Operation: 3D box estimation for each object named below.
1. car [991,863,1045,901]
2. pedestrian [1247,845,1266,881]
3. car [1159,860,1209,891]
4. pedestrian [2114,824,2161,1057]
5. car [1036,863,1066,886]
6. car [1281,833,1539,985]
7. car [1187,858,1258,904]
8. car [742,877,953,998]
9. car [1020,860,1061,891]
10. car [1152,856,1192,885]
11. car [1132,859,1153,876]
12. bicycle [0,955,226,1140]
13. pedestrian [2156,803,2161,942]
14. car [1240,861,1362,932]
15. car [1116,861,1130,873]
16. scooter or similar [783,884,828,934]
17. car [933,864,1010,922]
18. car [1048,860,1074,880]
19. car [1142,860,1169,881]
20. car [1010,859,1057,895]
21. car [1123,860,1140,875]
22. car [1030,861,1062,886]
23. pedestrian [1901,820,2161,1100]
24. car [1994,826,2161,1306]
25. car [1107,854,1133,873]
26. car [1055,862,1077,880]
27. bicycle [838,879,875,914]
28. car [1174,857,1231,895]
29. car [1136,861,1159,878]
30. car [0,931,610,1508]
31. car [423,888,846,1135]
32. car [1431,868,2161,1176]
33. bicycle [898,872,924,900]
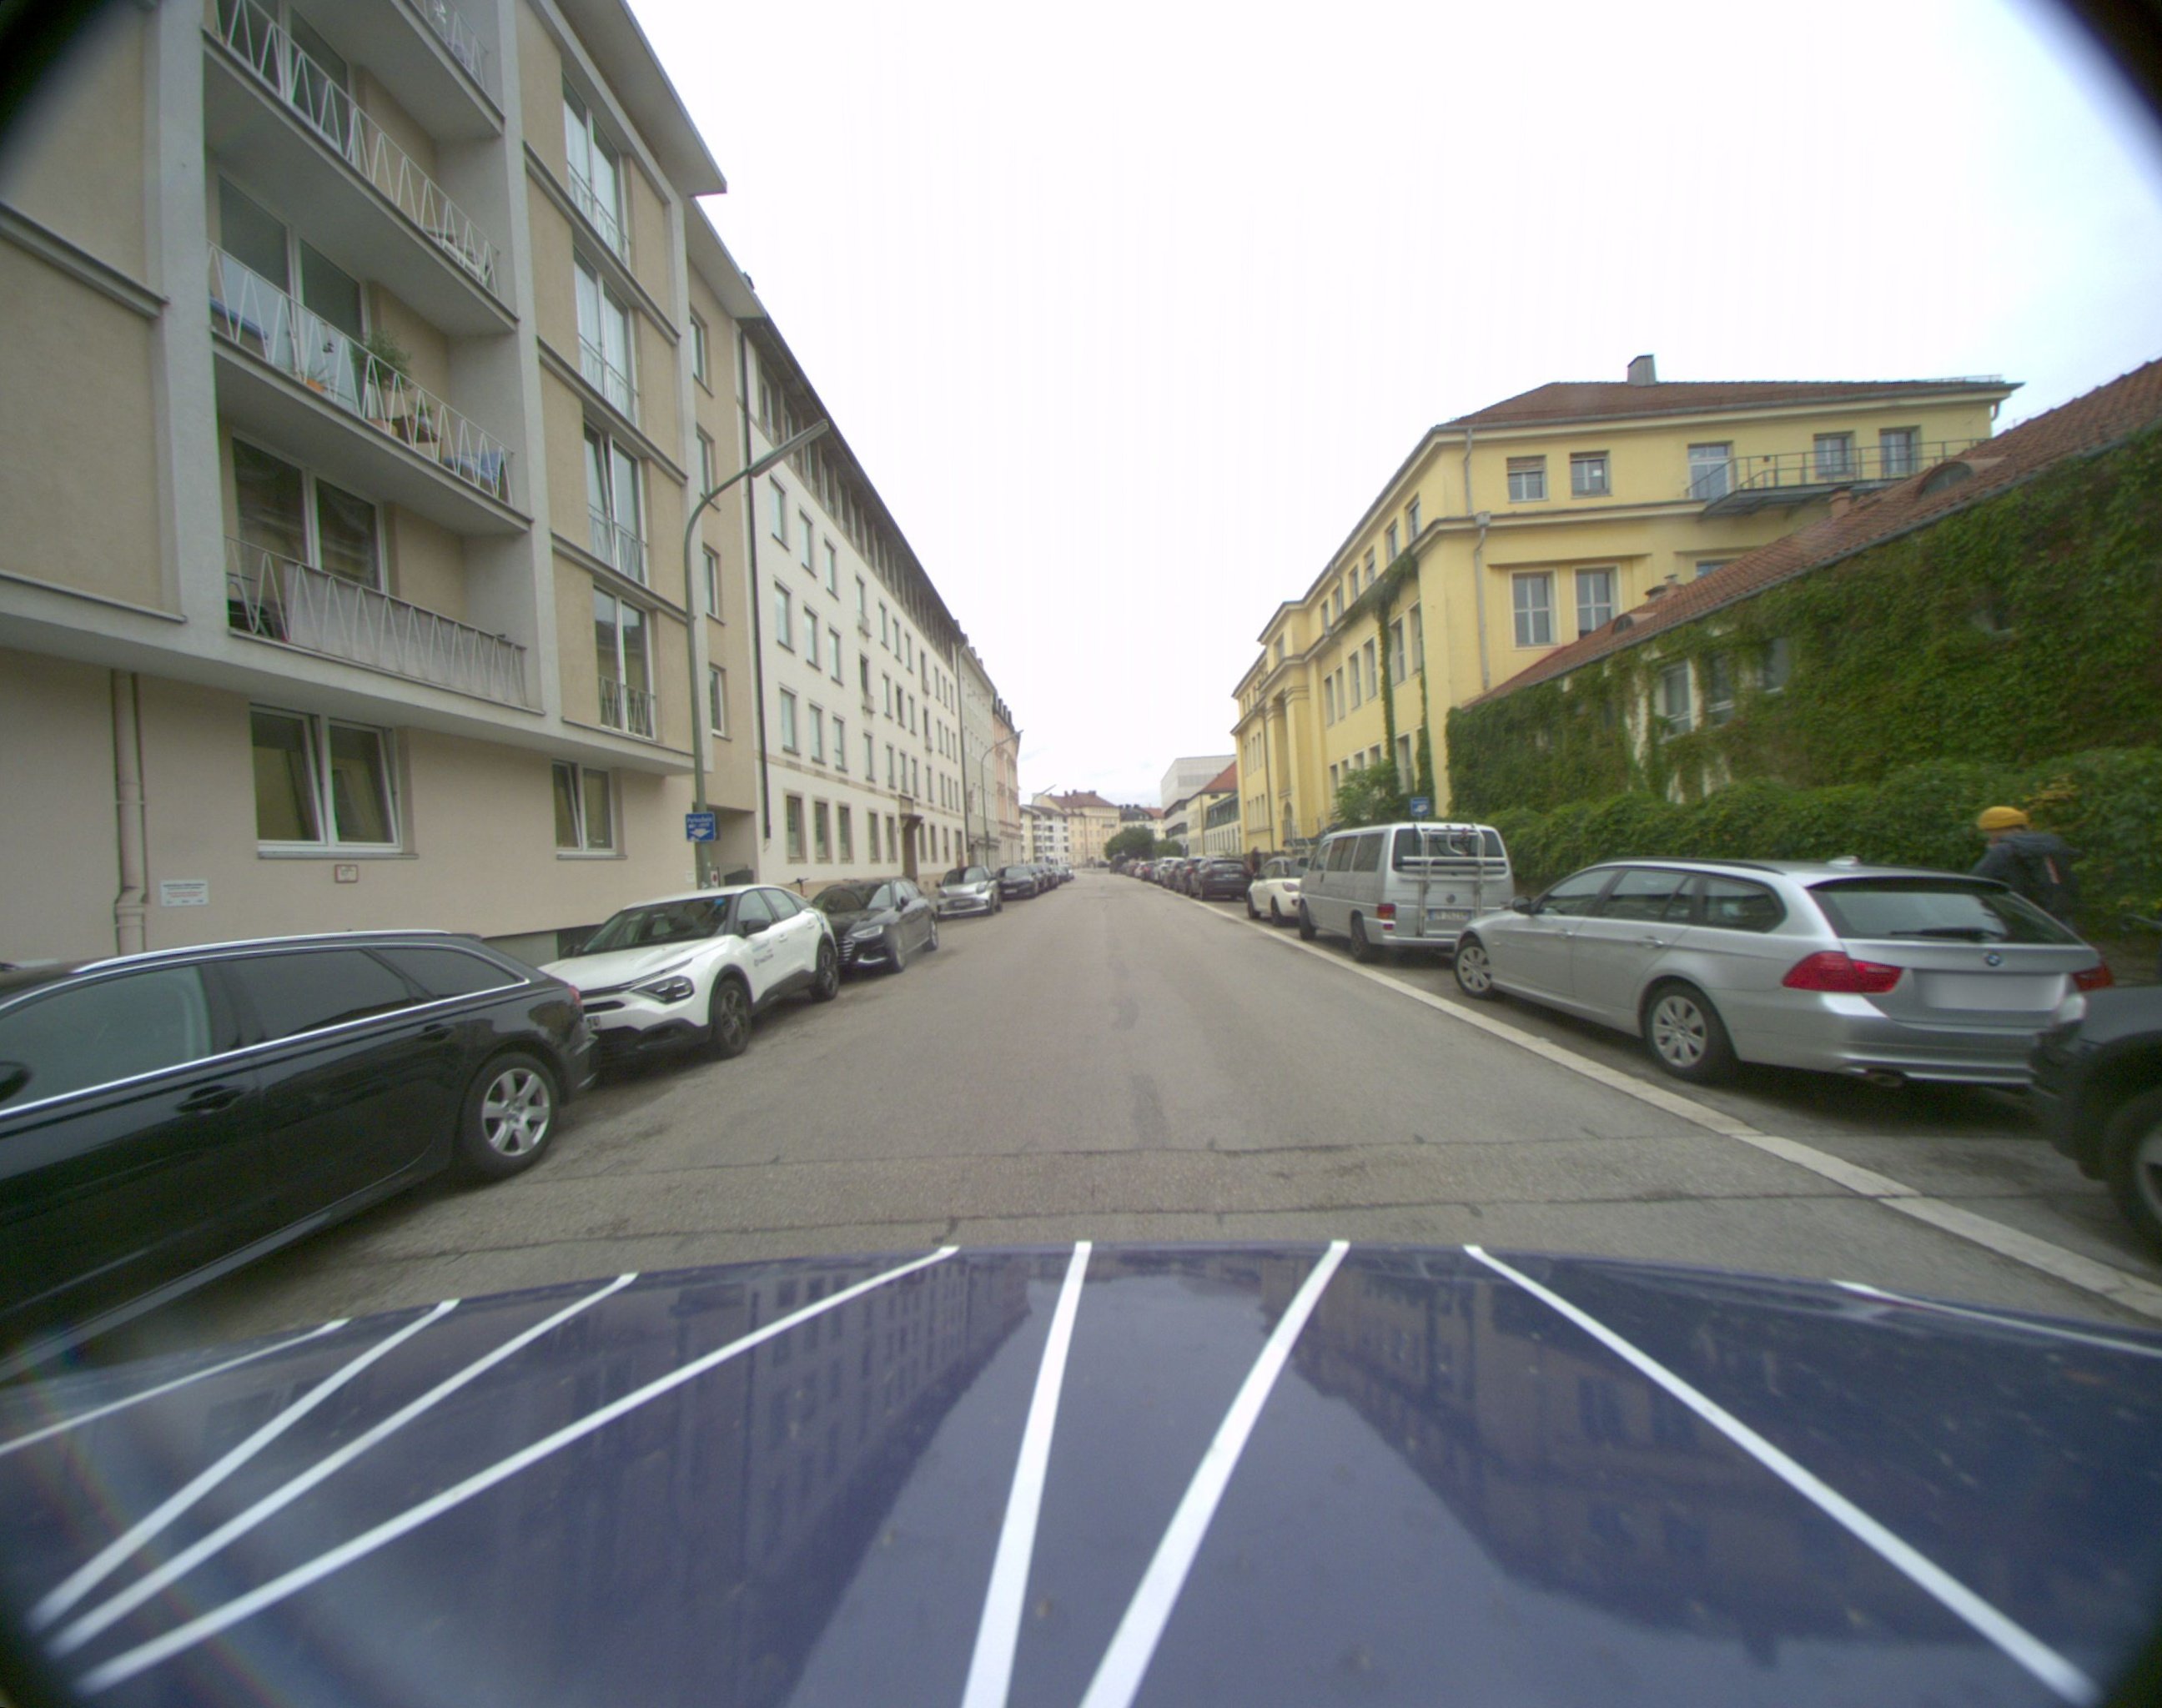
[{"bbox_3d":[-2.700,1.193,33.696,1.878,1.439,4.700,-4,-1,0],"label":"car"},{"bbox_3d":[9.211,0.463,39.904,0.776,1.813,0.782,-3,0,5],"label":"pedestrian"},{"bbox_3d":[5.035,1.044,37.674,1.778,1.400,4.601,1,-1,0],"label":"car"},{"bbox_3d":[7.284,0.532,4.583,0.845,1.485,0.872,-3,0,2],"label":"pedestrian"},{"bbox_3d":[-2.223,1.520,57.384,1.768,1.531,4.001,-6,-1,2],"label":"car"},{"bbox_3d":[4.609,0.683,11.622,1.897,1.788,4.881,1,0,1],"label":"car"},{"bbox_3d":[4.897,0.902,26.858,1.721,1.472,4.220,1,0,0],"label":"car"},{"bbox_3d":[-3.521,1.193,12.458,1.831,1.373,4.492,-5,-1,2],"label":"car"},{"bbox_3d":[-2.276,1.224,44.003,1.831,1.572,4.492,-4,-1,3],"label":"car"},{"bbox_3d":[5.419,0.960,45.665,1.786,1.631,4.300,1,-1,-1],"label":"car"},{"bbox_3d":[5.943,1.305,74.058,1.773,1.545,4.210,0,0,2],"label":"car"},{"bbox_3d":[-8.100,1.506,6.146,0.515,1.150,1.601,-2,0,0],"label":"bicycle"},{"bbox_3d":[5.938,0.591,3.434,0.845,1.744,0.872,-3,0,2],"label":"pedestrian"},{"bbox_3d":[4.690,0.858,16.720,1.671,1.401,3.559,0,-1,0],"label":"car"},{"bbox_3d":[5.496,1.730,99.214,1.673,1.508,3.948,-2,0,2],"label":"car"},{"bbox_3d":[-7.497,1.484,20.714,0.731,1.267,1.095,-3,0,1],"label":"scooter or similar"},{"bbox_3d":[-3.319,1.148,23.681,1.618,1.507,3.381,-7,-1,2],"label":"car"},{"bbox_3d":[-1.628,1.350,64.060,1.724,1.457,4.193,-5,-1,3],"label":"car"},{"bbox_3d":[5.434,1.185,55.752,1.738,1.431,3.780,0,0,2],"label":"car"},{"bbox_3d":[-2.386,1.138,39.032,1.831,1.572,4.492,-4,-1,2],"label":"car"},{"bbox_3d":[5.718,1.515,86.087,1.673,1.508,3.948,-2,0,2],"label":"car"},{"bbox_3d":[-2.281,1.266,50.283,1.745,1.421,4.182,-4,-1,2],"label":"car"},{"bbox_3d":[6.203,0.635,4.963,0.684,1.642,0.872,-3,0,0],"label":"pedestrian"},{"bbox_3d":[4.445,0.698,0.748,1.706,1.597,4.491,0,0,0],"label":"car"},{"bbox_3d":[5.605,1.414,110.920,2.848,2.536,6.891,-2,-1,-5],"label":"car"},{"bbox_3d":[-1.506,1.725,78.838,2.001,1.563,4.492,-5,-1,2],"label":"car"},{"bbox_3d":[-7.400,1.382,25.083,0.631,1.085,1.837,0,0,1],"label":"bicycle"},{"bbox_3d":[5.058,0.904,32.098,1.774,1.494,4.274,0,0,1],"label":"car"},{"bbox_3d":[6.011,1.379,68.569,1.816,1.389,4.020,0,0,2],"label":"car"},{"bbox_3d":[-4.096,1.309,2.597,1.776,1.420,4.694,-7,0,2],"label":"car"},{"bbox_3d":[-3.939,1.254,7.685,1.706,1.460,4.120,-7,0,-1],"label":"car"},{"bbox_3d":[4.636,0.856,5.925,1.808,1.369,4.491,2,0,2],"label":"car"},{"bbox_3d":[-7.079,1.322,31.665,0.599,1.073,2.040,0,0,0],"label":"bicycle"}]
